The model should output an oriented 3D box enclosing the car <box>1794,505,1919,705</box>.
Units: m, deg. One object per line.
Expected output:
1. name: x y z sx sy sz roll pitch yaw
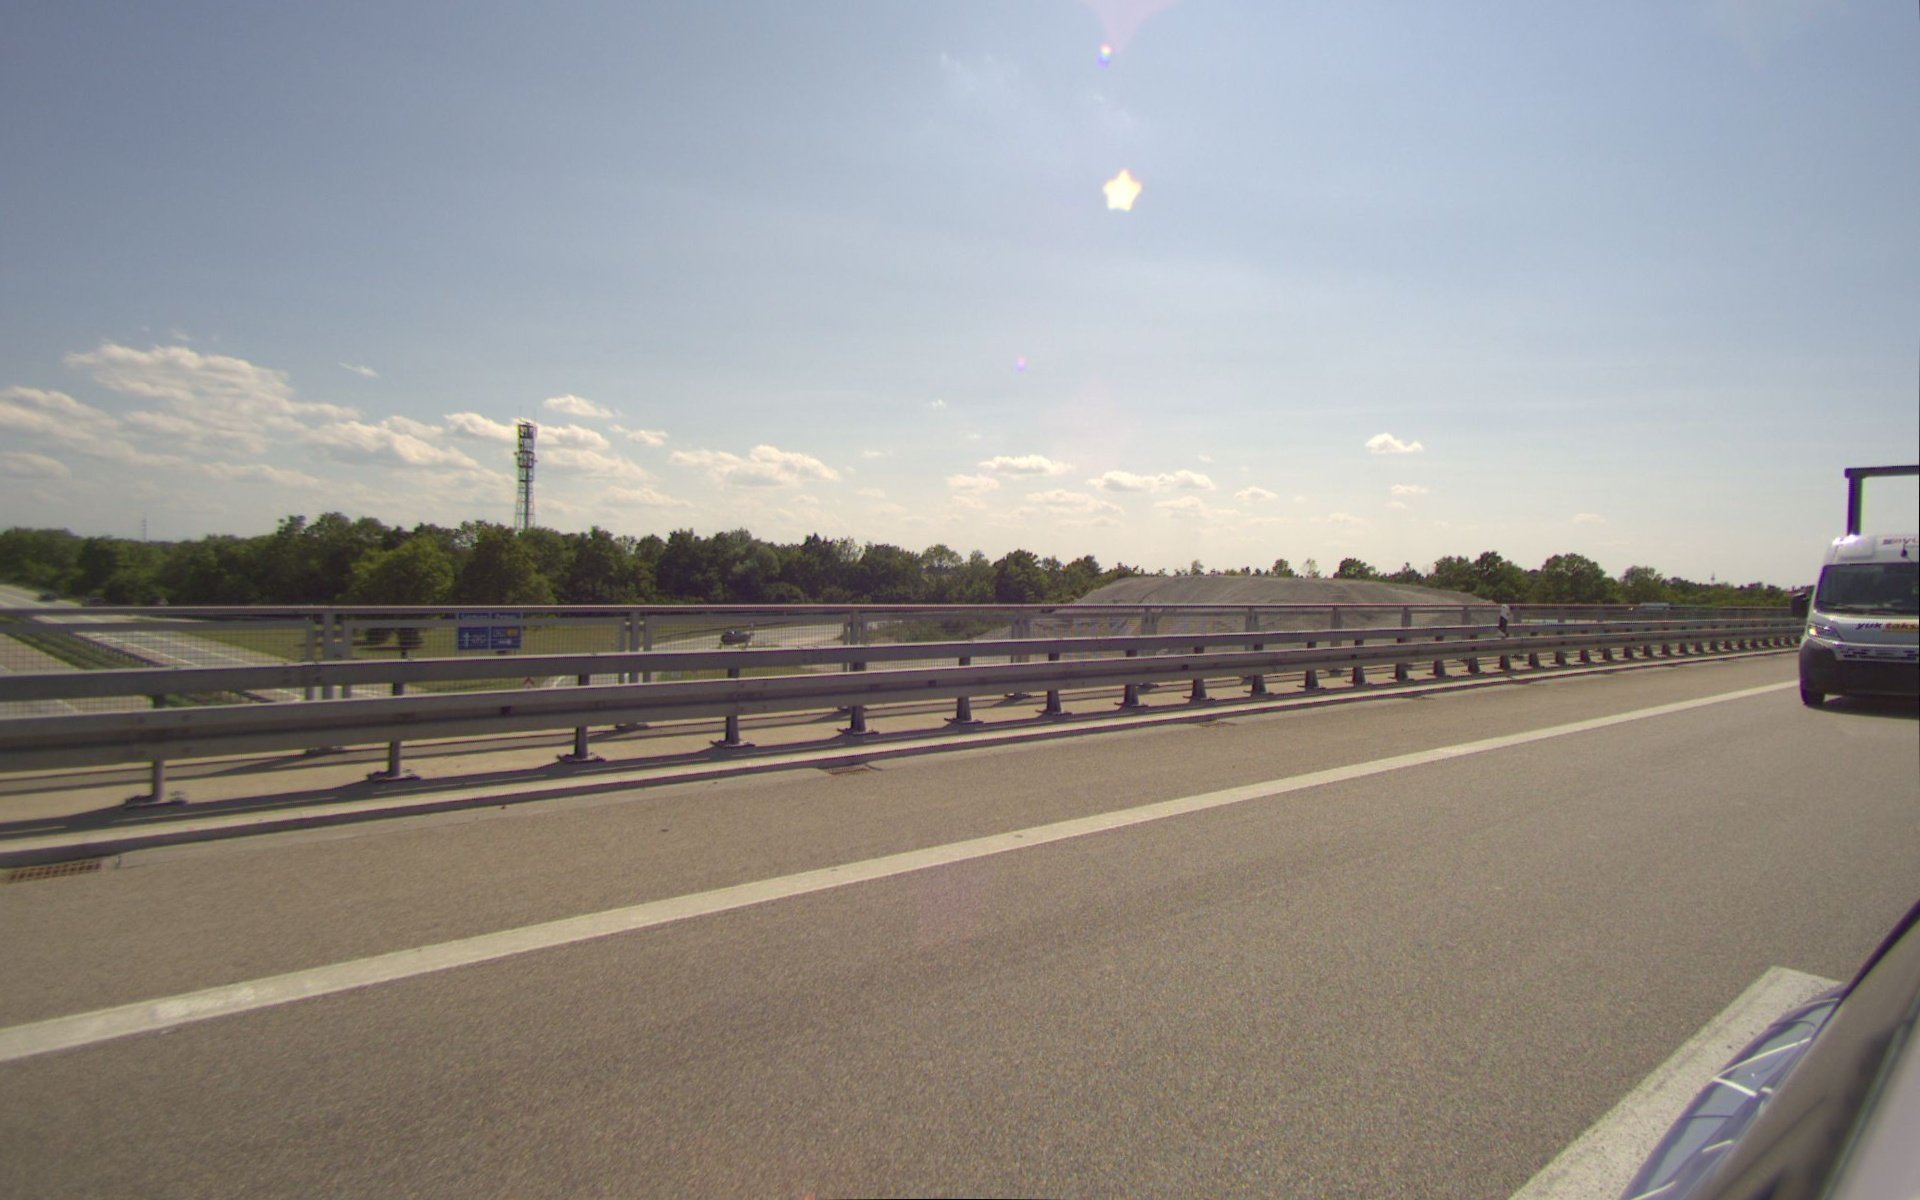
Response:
1. car: 14.547 0.085 15.050 6.124 2.555 2.087 1 1 -39
